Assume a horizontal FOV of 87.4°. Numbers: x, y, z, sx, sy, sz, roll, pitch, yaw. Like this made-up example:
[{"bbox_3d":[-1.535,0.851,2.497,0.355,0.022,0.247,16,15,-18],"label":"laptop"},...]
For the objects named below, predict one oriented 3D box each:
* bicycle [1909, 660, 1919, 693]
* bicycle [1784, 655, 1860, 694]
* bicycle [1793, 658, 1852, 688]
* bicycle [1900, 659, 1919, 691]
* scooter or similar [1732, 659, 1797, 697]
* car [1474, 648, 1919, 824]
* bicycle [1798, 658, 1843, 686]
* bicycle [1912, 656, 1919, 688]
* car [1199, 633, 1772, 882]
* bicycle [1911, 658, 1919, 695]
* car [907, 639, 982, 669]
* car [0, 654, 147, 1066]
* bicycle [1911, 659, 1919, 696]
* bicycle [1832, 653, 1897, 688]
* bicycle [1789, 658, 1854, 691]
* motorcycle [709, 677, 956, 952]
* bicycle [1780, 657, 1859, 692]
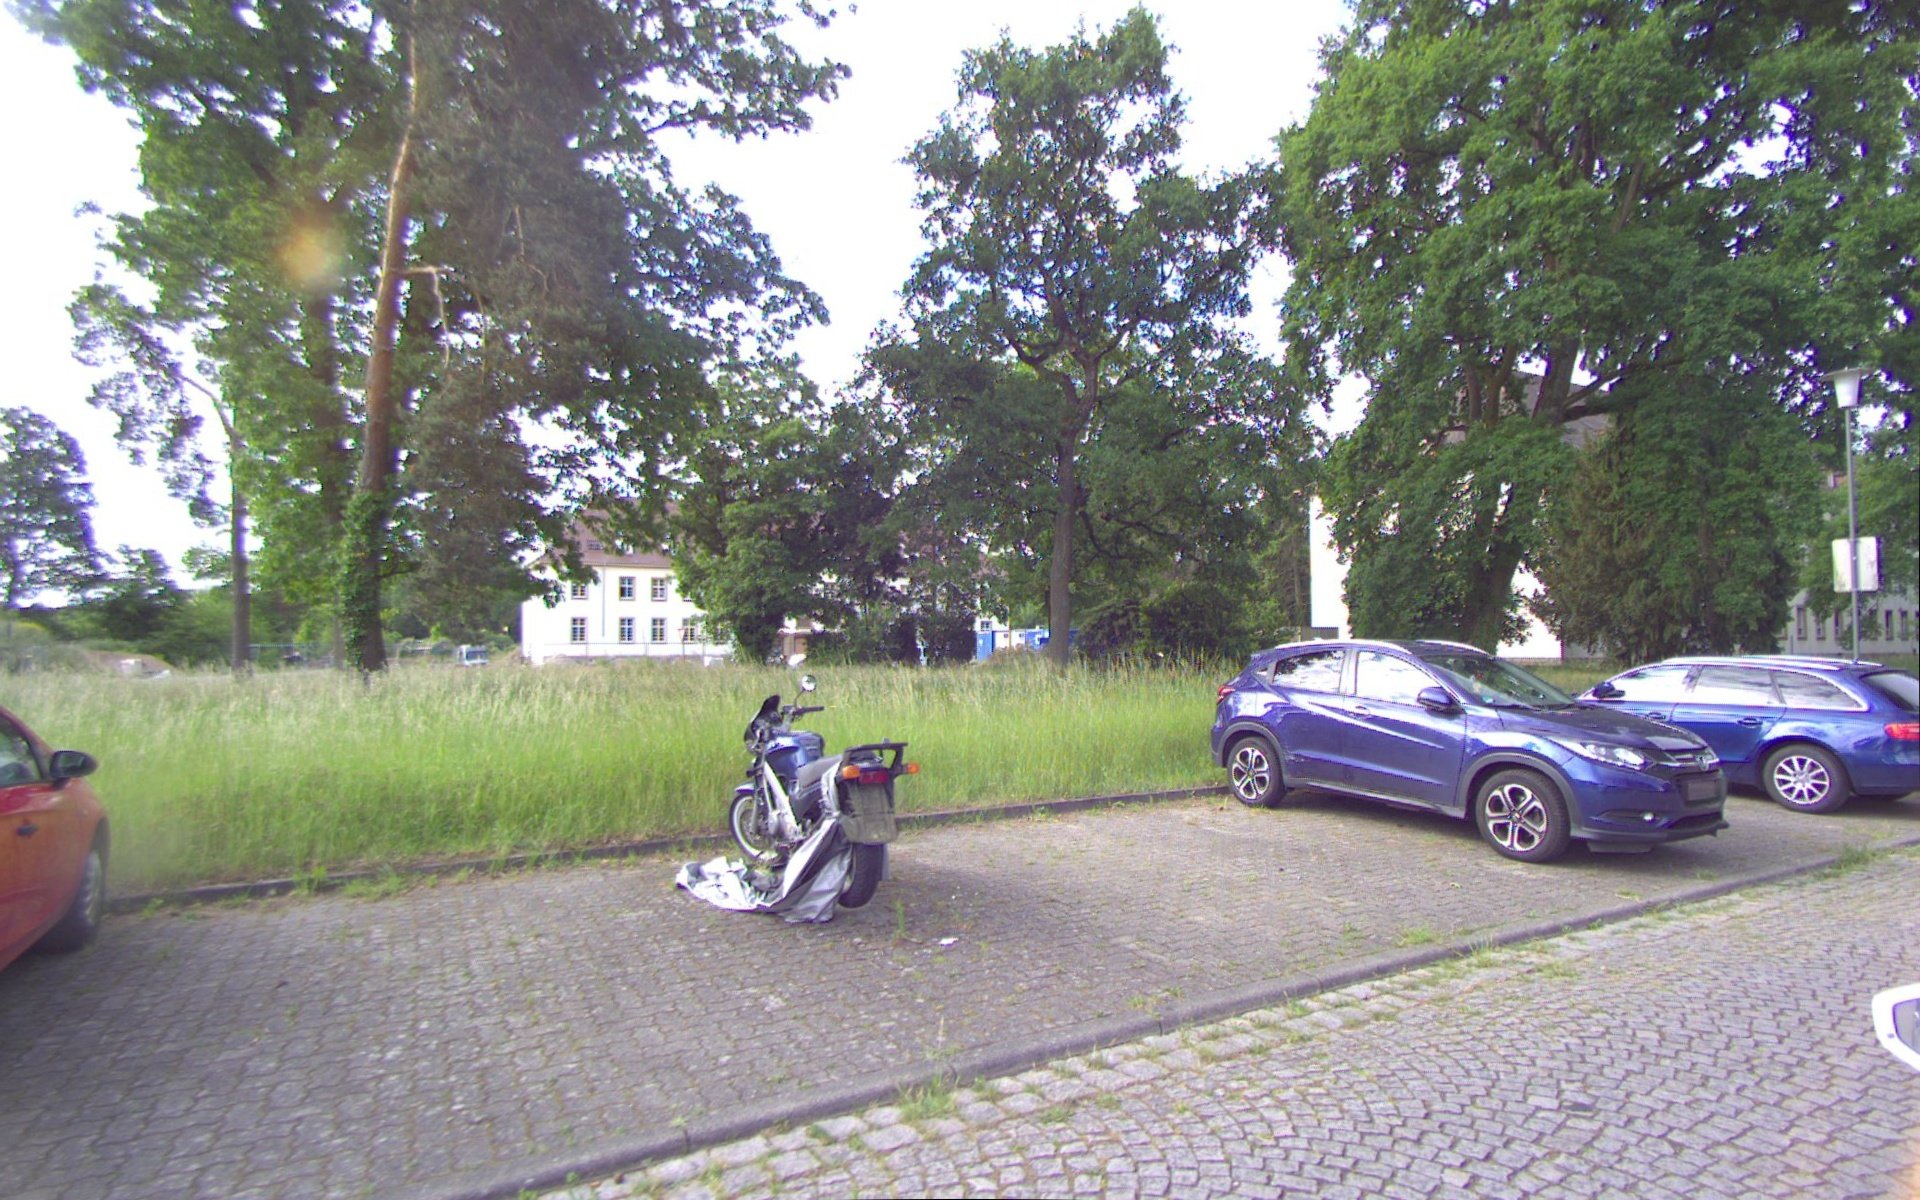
[{"bbox_3d":[31.780,2.453,32.348,1.673,1.014,0.629,-5,-3,42],"label":"bicycle"},{"bbox_3d":[28.553,2.450,33.306,1.874,1.239,0.640,-2,-1,42],"label":"bicycle"},{"bbox_3d":[30.902,2.604,36.005,1.490,1.049,0.544,-2,-1,31],"label":"bicycle"},{"bbox_3d":[32.269,2.464,33.009,1.932,1.018,0.682,-5,-3,42],"label":"bicycle"},{"bbox_3d":[27.204,2.627,33.986,0.673,1.210,1.543,0,-3,-26],"label":"scooter or similar"},{"bbox_3d":[8.184,1.291,10.987,1.661,1.499,4.415,1,-2,-28],"label":"car"},{"bbox_3d":[32.487,2.734,37.936,1.245,1.042,0.431,-4,-7,42],"label":"bicycle"},{"bbox_3d":[34.354,2.500,35.032,1.599,1.072,0.524,-5,-3,42],"label":"bicycle"},{"bbox_3d":[4.177,1.126,8.723,1.769,1.593,4.119,2,-3,-30],"label":"car"},{"bbox_3d":[31.354,2.407,31.783,1.774,1.118,0.699,-5,-3,42],"label":"bicycle"},{"bbox_3d":[-1.182,4.241,78.468,5.466,2.236,2.110,2,-1,-30],"label":"car"},{"bbox_3d":[-4.555,0.994,3.804,1.652,1.498,3.866,1,-2,-30],"label":"car"},{"bbox_3d":[30.842,2.401,31.250,1.748,1.118,0.699,-5,-3,42],"label":"bicycle"},{"bbox_3d":[32.281,2.506,35.872,1.617,1.201,0.572,-2,-1,35],"label":"bicycle"},{"bbox_3d":[29.980,2.584,34.976,1.601,1.088,0.538,-2,-1,31],"label":"bicycle"},{"bbox_3d":[-0.906,1.179,6.313,0.735,1.305,2.346,1,-3,-29],"label":"motorcycle"},{"bbox_3d":[28.942,2.489,33.843,1.963,1.129,0.640,-3,-1,42],"label":"bicycle"}]
